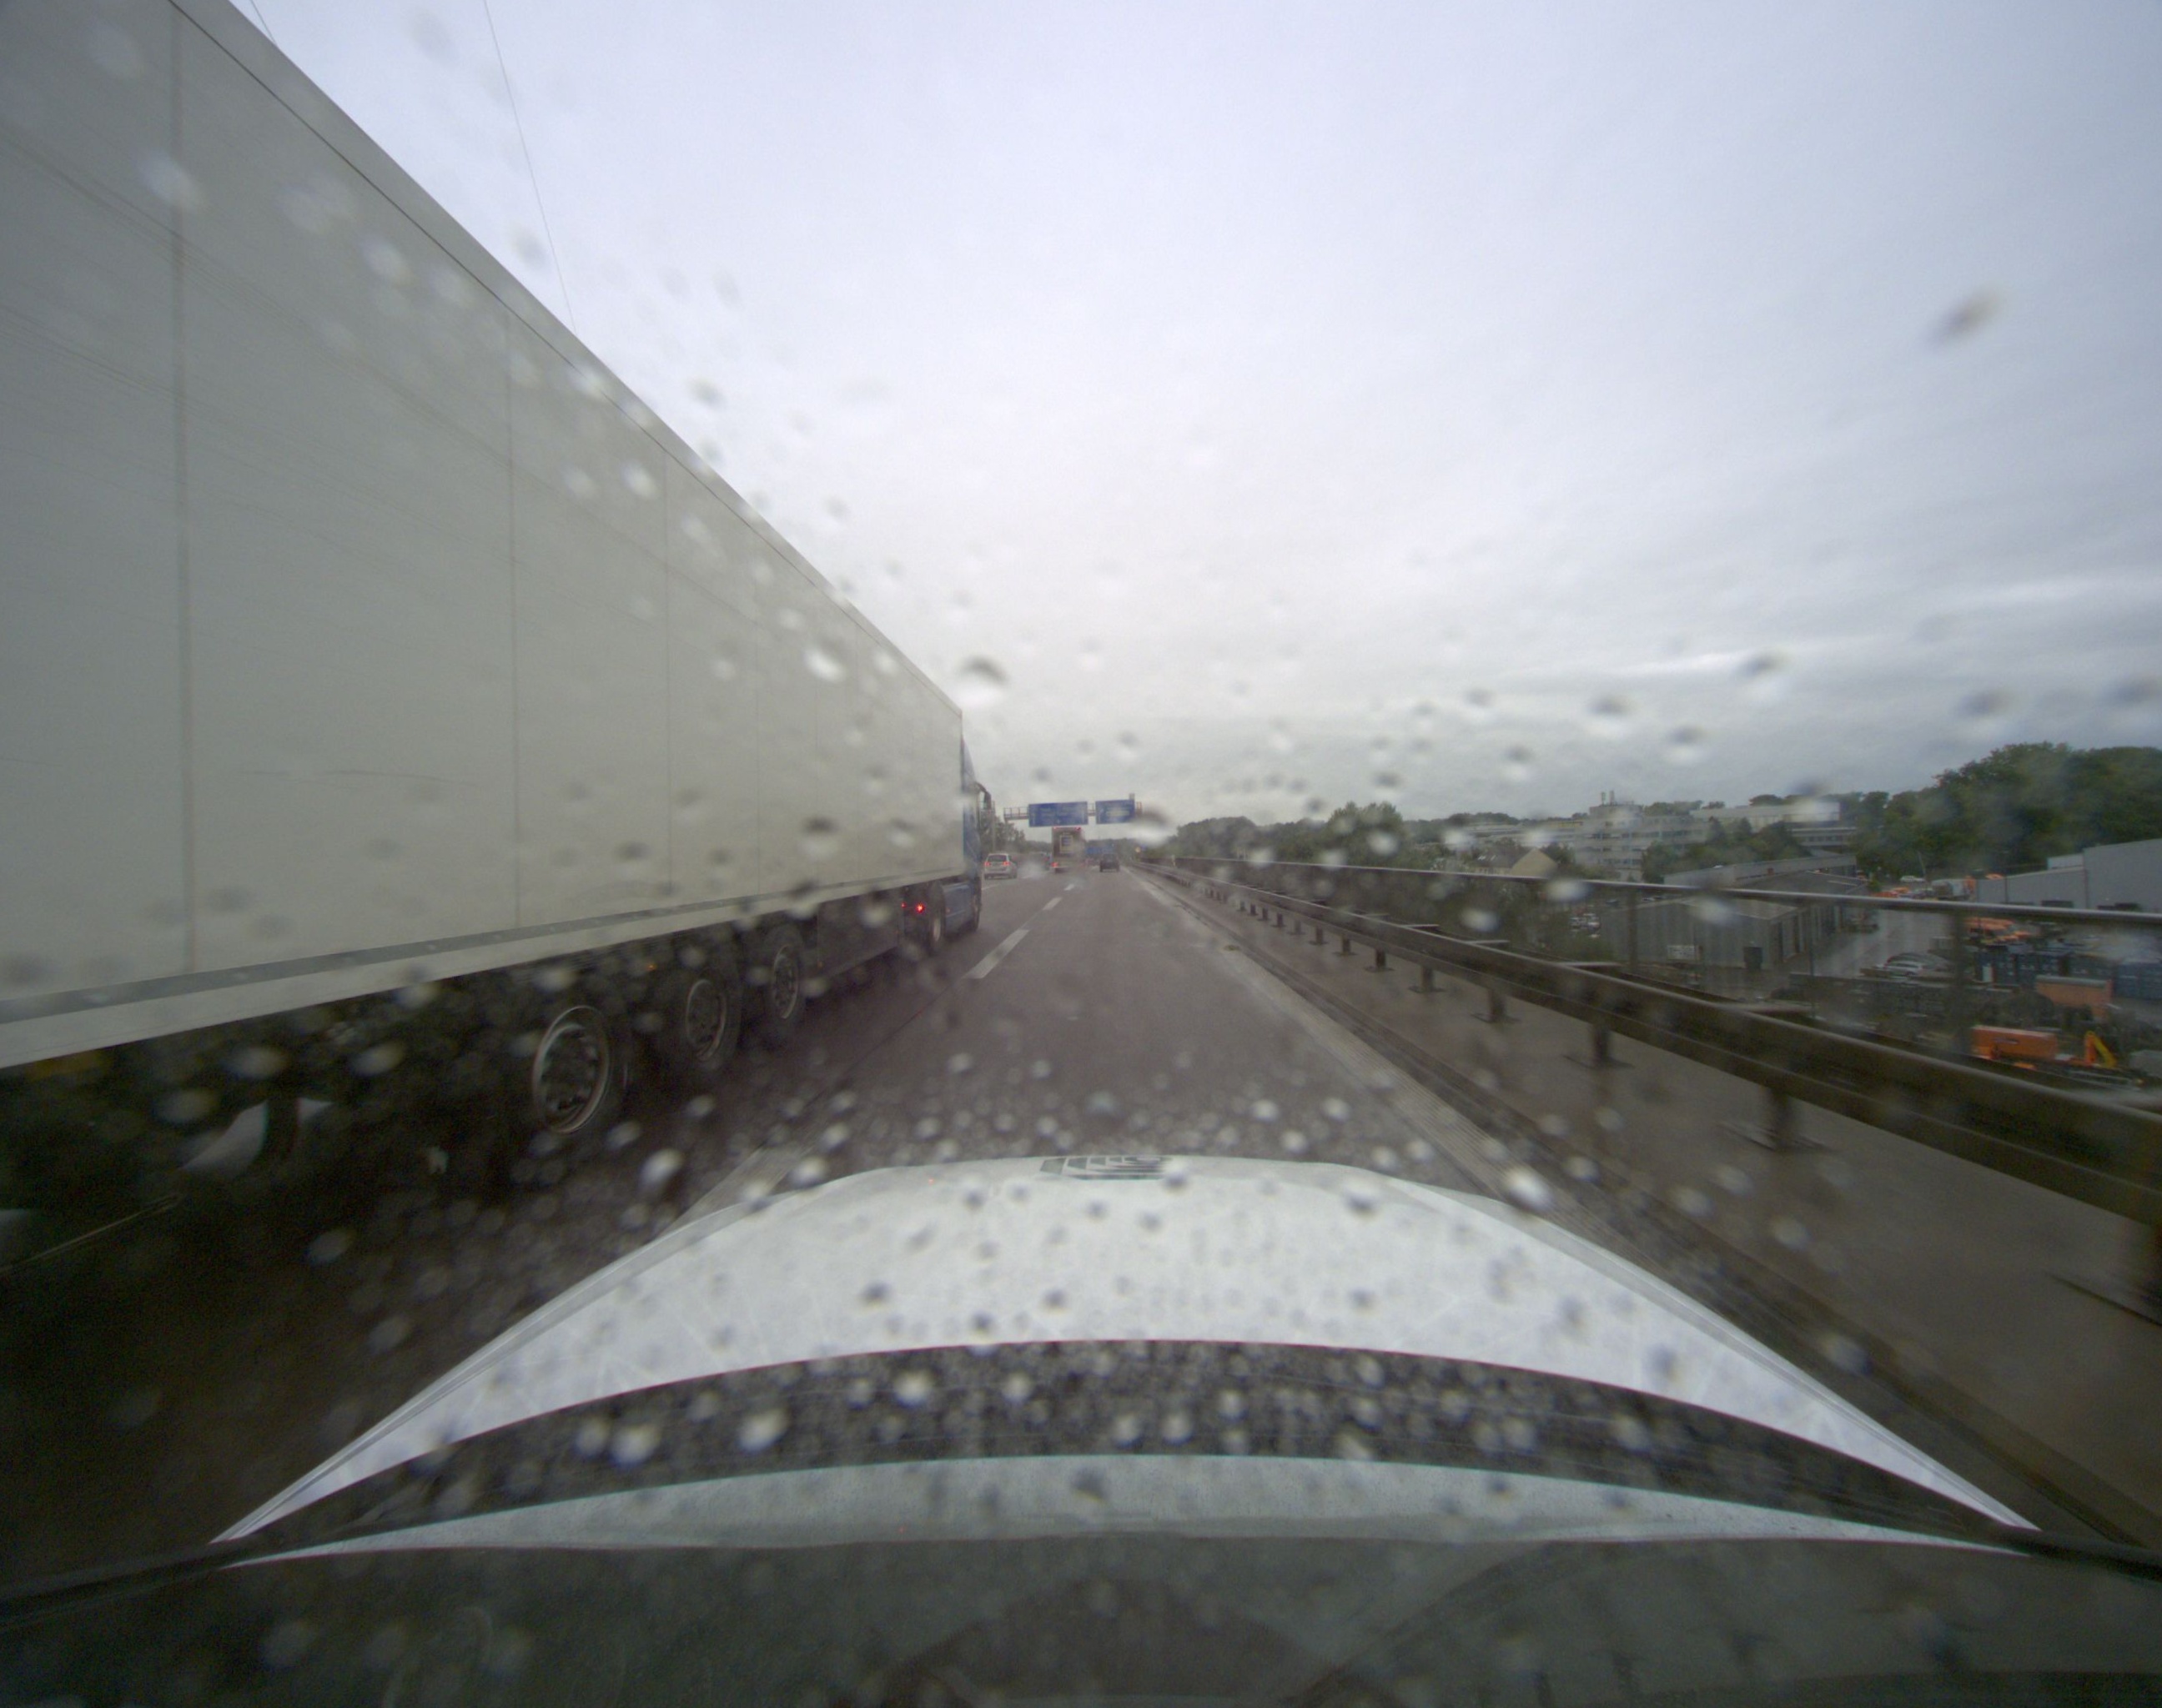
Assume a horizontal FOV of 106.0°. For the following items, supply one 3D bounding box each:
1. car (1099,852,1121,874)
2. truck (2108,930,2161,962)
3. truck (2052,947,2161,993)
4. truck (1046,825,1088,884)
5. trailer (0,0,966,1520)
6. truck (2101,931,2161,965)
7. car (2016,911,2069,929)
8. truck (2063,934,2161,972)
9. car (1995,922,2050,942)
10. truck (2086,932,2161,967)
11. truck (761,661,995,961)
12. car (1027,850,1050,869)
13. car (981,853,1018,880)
[{"bbox_3d":[2.684,0.819,74.279,1.889,1.949,4.003,0,-1,3],"label":"car"},{"bbox_3d":[117.340,10.082,88.715,2.112,3.184,6.522,1,-1,-32],"label":"truck"},{"bbox_3d":[87.714,9.776,69.142,2.112,3.184,6.522,1,-1,-32],"label":"truck"},{"bbox_3d":[-1.190,0.117,76.770,3.520,5.183,9.895,0,-1,2],"label":"truck"},{"bbox_3d":[-3.421,-0.595,6.530,2.334,4.157,14.832,-1,0,2],"label":"trailer"},{"bbox_3d":[114.214,10.064,86.892,2.112,3.184,6.522,1,-1,-32],"label":"truck"},{"bbox_3d":[118.126,8.080,100.082,2.008,2.014,3.958,1,-1,-34],"label":"car"},{"bbox_3d":[105.806,10.040,83.346,2.112,3.184,6.522,1,-1,-32],"label":"truck"},{"bbox_3d":[110.614,9.103,95.714,2.008,2.014,3.958,1,-1,-34],"label":"car"},{"bbox_3d":[110.987,10.055,85.545,2.112,3.184,6.522,1,-1,-32],"label":"truck"},{"bbox_3d":[-3.176,-0.605,14.584,2.334,4.157,6.349,-1,0,2],"label":"truck"},{"bbox_3d":[-4.447,0.607,85.706,2.041,1.949,4.001,0,-1,2],"label":"car"},{"bbox_3d":[-5.343,0.833,53.915,1.887,1.724,4.001,0,-1,2],"label":"car"}]
